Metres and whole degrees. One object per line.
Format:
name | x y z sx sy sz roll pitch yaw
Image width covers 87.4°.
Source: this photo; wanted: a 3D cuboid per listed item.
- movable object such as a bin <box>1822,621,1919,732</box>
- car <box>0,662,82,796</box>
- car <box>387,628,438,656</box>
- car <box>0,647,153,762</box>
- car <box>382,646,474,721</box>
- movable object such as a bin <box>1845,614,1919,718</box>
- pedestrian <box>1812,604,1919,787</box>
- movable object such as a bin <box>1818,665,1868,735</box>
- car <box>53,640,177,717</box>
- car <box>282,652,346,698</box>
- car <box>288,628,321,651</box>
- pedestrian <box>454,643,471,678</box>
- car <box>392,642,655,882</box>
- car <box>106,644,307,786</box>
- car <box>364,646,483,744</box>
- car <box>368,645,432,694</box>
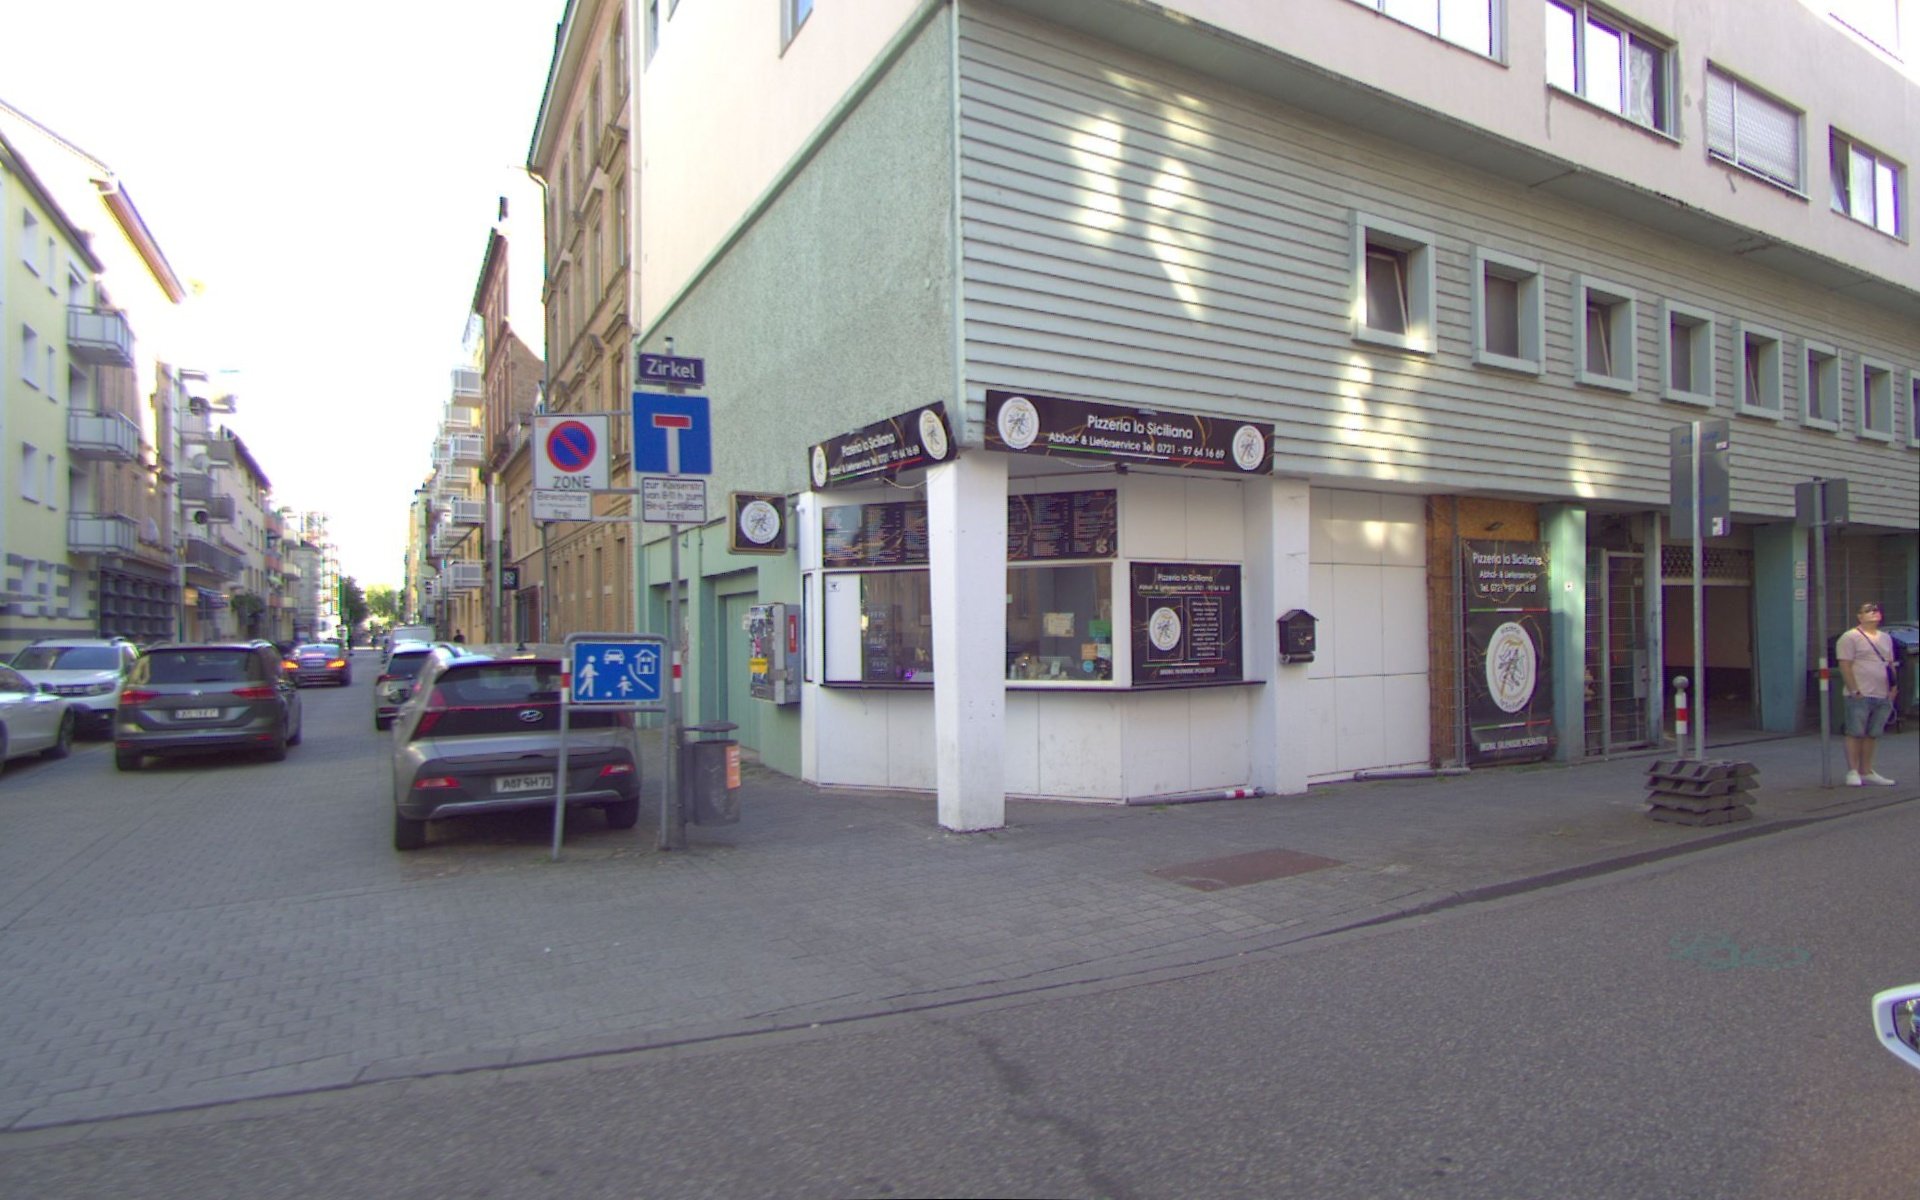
movable object such as a bin | 13.578 1.086 14.718 1.457 1.491 0.964 -2 -1 -30
car | -12.277 1.533 12.130 1.739 1.416 4.294 0 -2 -30
car | -25.561 1.931 46.856 1.768 1.202 3.055 -2 -1 -34
car | -15.212 1.680 17.142 1.740 1.632 4.111 -2 -1 -33
car | -12.663 1.913 23.996 1.764 1.501 3.886 -2 -1 -28
movable object such as a bin | 14.780 0.998 15.629 1.326 1.540 1.117 -1 -1 -29
pedestrian | 8.686 0.887 9.625 0.615 1.692 0.494 1 1 14
movable object such as a bin | 12.645 1.425 14.381 0.461 0.954 0.391 -1 -1 -29
car | -17.944 1.609 21.474 1.469 1.408 3.377 -2 -1 -31
car | -22.110 2.524 34.494 1.566 1.400 3.872 0 -1 -29
car | -44.722 2.692 68.563 1.566 1.527 3.872 0 -1 -29
pedestrian | -23.780 2.868 47.993 0.683 1.602 0.630 0 1 -33
car | -4.020 1.174 8.865 1.673 1.540 3.913 0 -2 -30
car | -10.405 1.461 14.167 1.766 1.589 4.137 0 -1 -30
car | -10.121 1.701 19.063 1.764 1.501 3.886 -2 -1 -28
car | -19.034 2.327 34.255 1.764 1.426 3.461 -2 -1 -28
